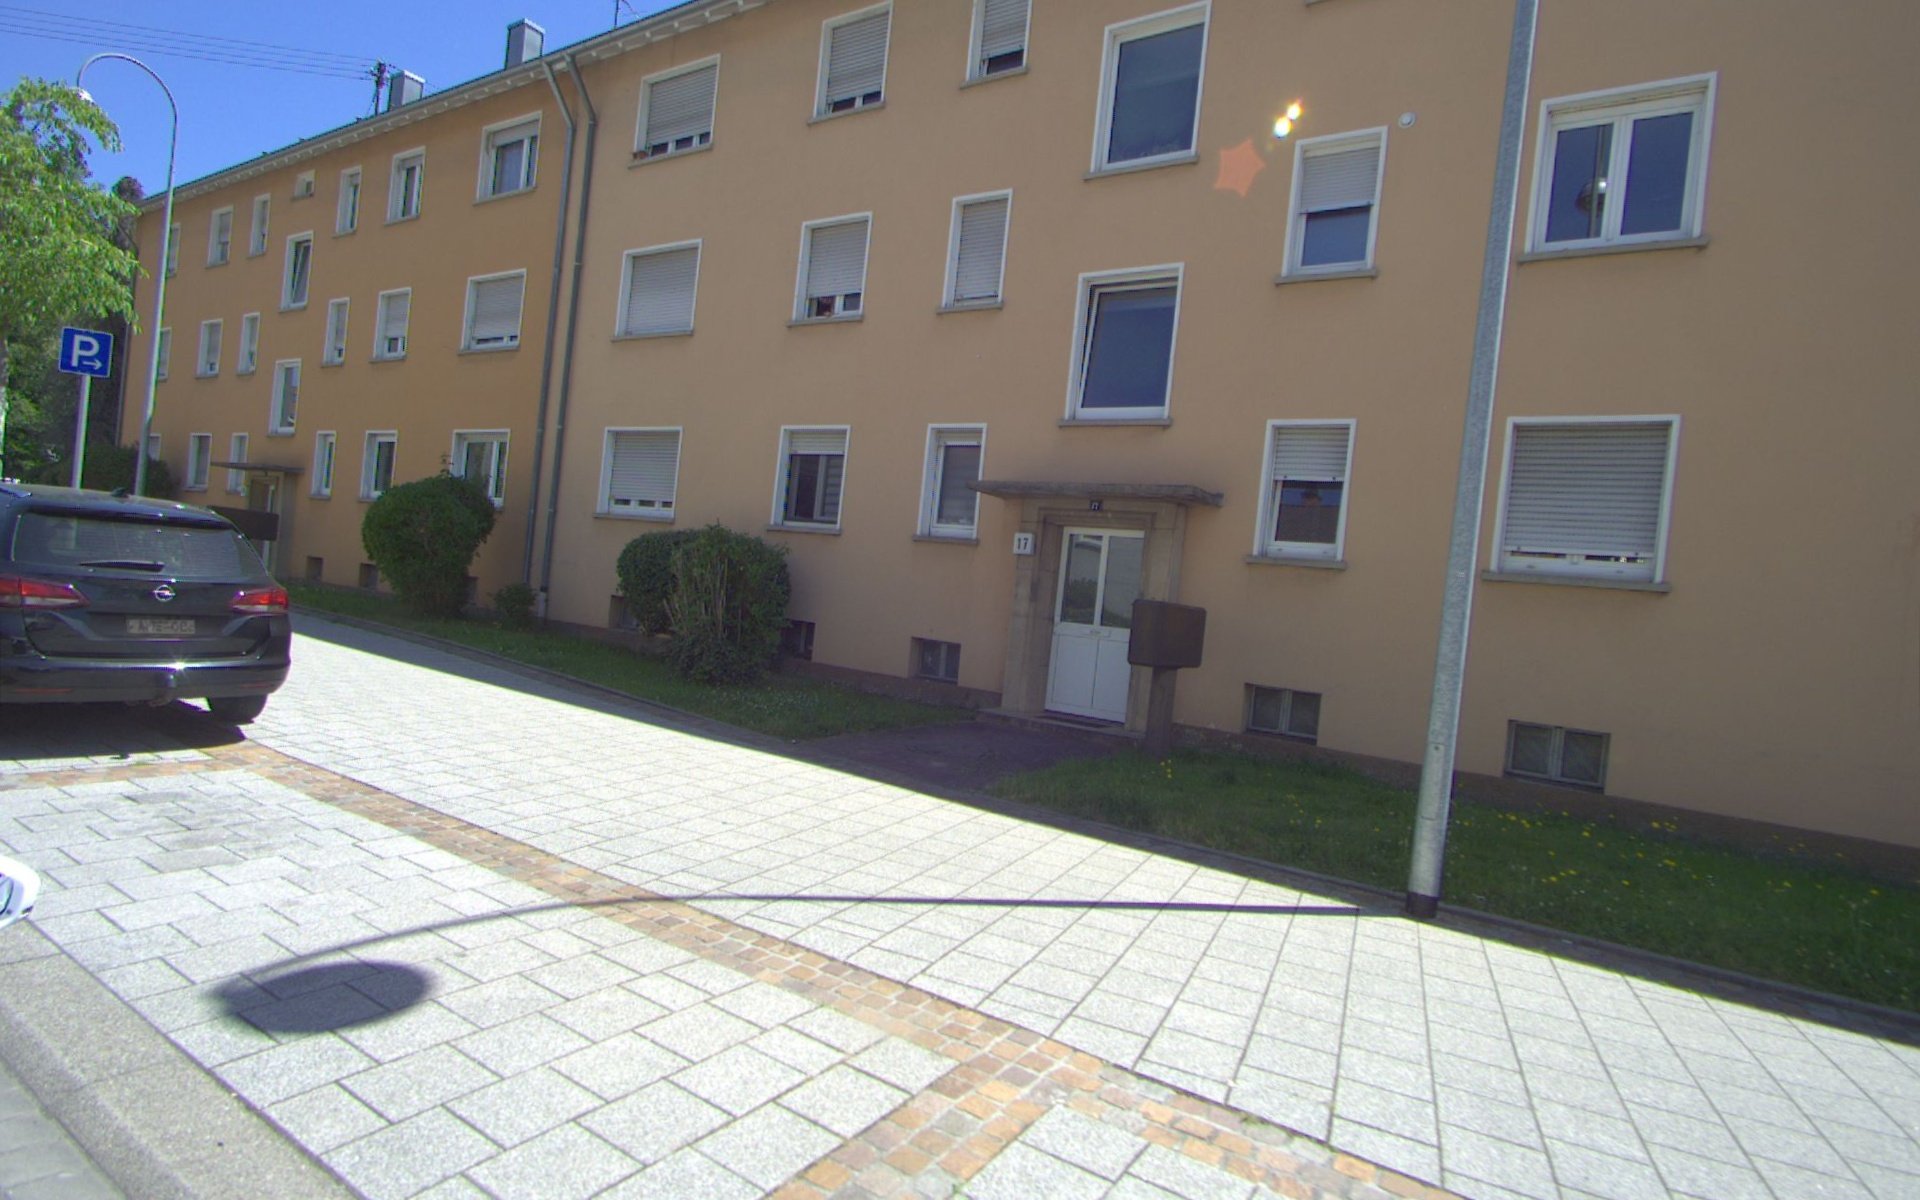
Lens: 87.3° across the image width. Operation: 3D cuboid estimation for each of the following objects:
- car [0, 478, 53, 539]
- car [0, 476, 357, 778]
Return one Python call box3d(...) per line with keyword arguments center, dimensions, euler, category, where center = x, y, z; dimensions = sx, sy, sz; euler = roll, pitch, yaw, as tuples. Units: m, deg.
box3d(center=(-33.377, -3.303, 33.424), dimensions=(1.719, 1.860, 4.351), euler=(6, -2, 25), category="car")
box3d(center=(-6.475, -0.078, 7.036), dimensions=(4.981, 1.524, 1.833), euler=(7, 2, 33), category="car")
